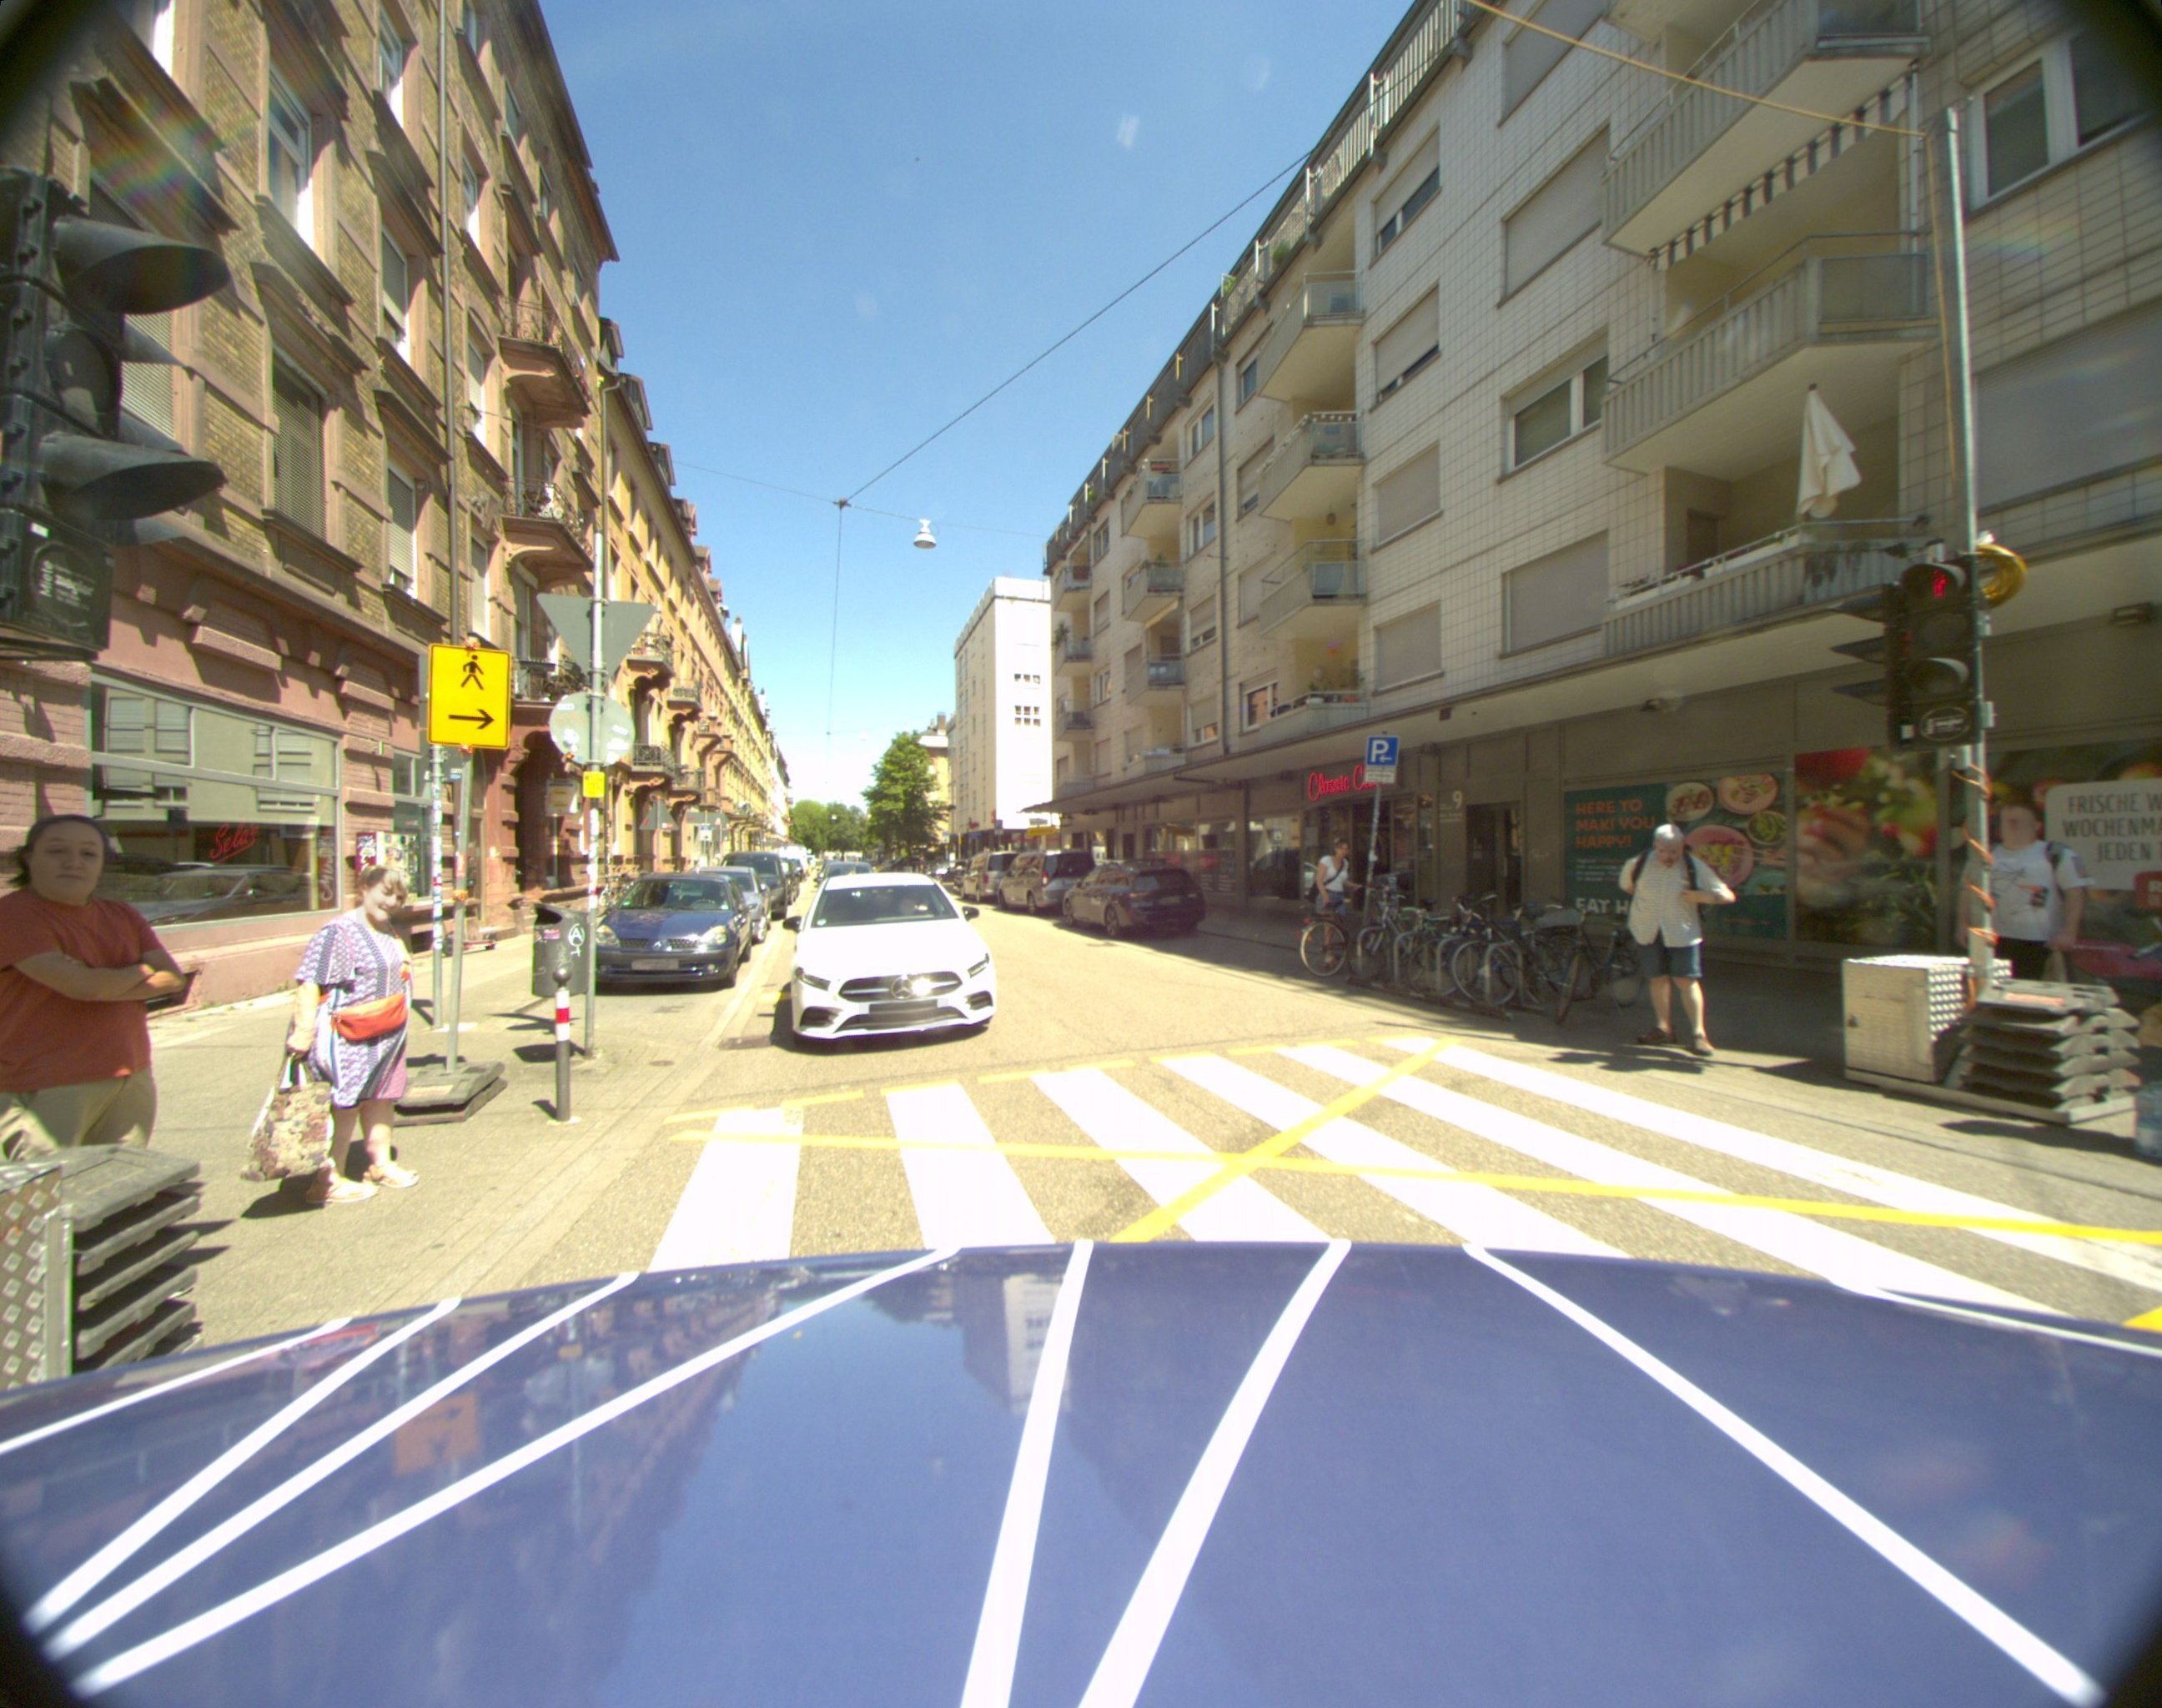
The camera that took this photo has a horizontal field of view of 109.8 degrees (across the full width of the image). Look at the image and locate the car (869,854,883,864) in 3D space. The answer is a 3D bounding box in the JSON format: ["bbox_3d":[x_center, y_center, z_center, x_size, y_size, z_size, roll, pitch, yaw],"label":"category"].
[{"bbox_3d":[-34.681,0.815,128.323,2.001,1.505,3.993,-2,1,-18],"label":"car"}]

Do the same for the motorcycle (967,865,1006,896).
[{"bbox_3d":[-3.968,1.115,31.984,1.553,1.277,0.394,-1,2,14],"label":"motorcycle"}]

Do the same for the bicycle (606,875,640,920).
[{"bbox_3d":[-11.967,1.114,19.897,0.355,1.097,1.753,-1,0,-18],"label":"bicycle"}]

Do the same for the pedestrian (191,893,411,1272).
[{"bbox_3d":[-3.427,0.955,3.373,0.495,1.534,0.436,2,0,-12],"label":"pedestrian"}]

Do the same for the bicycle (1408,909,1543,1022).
[{"bbox_3d":[4.294,1.177,8.248,1.500,1.024,0.397,-3,1,-22],"label":"bicycle"}]

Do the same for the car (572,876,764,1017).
[{"bbox_3d":[-5.288,1.055,10.192,1.634,1.424,3.654,1,0,-18],"label":"car"}]

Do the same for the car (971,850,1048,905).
[{"bbox_3d":[-2.758,0.789,28.239,1.796,1.818,4.893,-2,0,-18],"label":"car"}]

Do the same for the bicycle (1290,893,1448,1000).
[{"bbox_3d":[3.680,1.135,9.672,1.942,1.085,0.603,-5,0,-24],"label":"bicycle"}]

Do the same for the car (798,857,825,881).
[{"bbox_3d":[-18.696,1.008,52.632,1.684,1.528,3.993,-1,1,-21],"label":"car"}]

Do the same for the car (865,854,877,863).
[{"bbox_3d":[-41.418,0.914,149.915,2.001,1.674,3.993,-2,1,-18],"label":"car"}]

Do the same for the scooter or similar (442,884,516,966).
[{"bbox_3d":[-9.464,1.091,11.992,0.293,1.170,1.271,-1,0,-8],"label":"scooter or similar"}]

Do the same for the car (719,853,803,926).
[{"bbox_3d":[-8.565,0.856,20.644,1.832,1.756,4.330,1,0,-20],"label":"car"}]

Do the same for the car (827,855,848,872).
[{"bbox_3d":[-21.829,0.837,68.047,1.751,1.382,3.993,0,0,-19],"label":"car"}]

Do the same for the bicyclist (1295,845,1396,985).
[{"bbox_3d":[3.456,0.764,9.939,0.979,1.696,0.624,-4,1,-22],"label":"bicyclist"}]

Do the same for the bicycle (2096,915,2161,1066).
[{"bbox_3d":[8.289,1.003,5.302,0.322,1.080,1.429,-2,0,-37],"label":"bicycle"}]

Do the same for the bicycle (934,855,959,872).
[{"bbox_3d":[-9.111,0.656,51.356,1.611,1.084,0.370,-2,1,-12],"label":"bicycle"}]

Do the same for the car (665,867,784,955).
[{"bbox_3d":[-7.029,1.027,15.380,1.733,1.424,4.478,1,0,-20],"label":"car"}]

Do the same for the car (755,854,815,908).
[{"bbox_3d":[-10.501,0.901,27.162,1.708,1.723,3.993,-1,1,-18],"label":"car"}]

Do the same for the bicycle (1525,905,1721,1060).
[{"bbox_3d":[4.891,1.091,6.838,1.806,1.116,0.576,-3,2,-23],"label":"bicycle"}]

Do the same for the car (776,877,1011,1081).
[{"bbox_3d":[-2.100,1.026,8.098,1.817,1.417,4.235,0,0,-18],"label":"car"}]

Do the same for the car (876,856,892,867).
[{"bbox_3d":[-28.633,1.099,110.368,2.001,1.505,3.993,-2,1,-18],"label":"car"}]

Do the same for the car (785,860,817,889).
[{"bbox_3d":[-15.560,1.083,42.198,1.605,1.454,3.683,-1,1,-21],"label":"car"}]

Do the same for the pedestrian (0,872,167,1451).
[{"bbox_3d":[-3.264,0.897,2.366,0.333,1.666,0.401,0,1,-12],"label":"pedestrian"}]

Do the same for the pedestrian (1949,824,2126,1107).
[{"bbox_3d":[6.376,0.694,5.083,0.511,1.760,0.598,-1,1,-20],"label":"pedestrian"}]

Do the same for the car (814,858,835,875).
[{"bbox_3d":[-24.878,1.217,73.593,1.684,1.528,3.993,-1,1,-21],"label":"car"}]

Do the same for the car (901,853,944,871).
[{"bbox_3d":[-15.513,0.793,74.306,3.891,1.737,1.649,0,0,-18],"label":"car"}]

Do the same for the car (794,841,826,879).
[{"bbox_3d":[-20.673,0.406,58.125,2.070,2.687,5.031,-2,1,-18],"label":"car"}]

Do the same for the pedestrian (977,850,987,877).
[{"bbox_3d":[-7.924,0.776,61.031,0.608,2.113,0.496,0,1,18],"label":"pedestrian"}]

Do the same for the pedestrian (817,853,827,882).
[{"bbox_3d":[-17.133,0.894,50.290,0.636,1.903,0.369,-1,1,-18],"label":"pedestrian"}]

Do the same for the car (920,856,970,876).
[{"bbox_3d":[-11.170,0.957,62.322,3.891,1.520,1.649,0,0,-18],"label":"car"}]

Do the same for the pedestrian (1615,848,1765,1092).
[{"bbox_3d":[4.594,0.814,5.755,0.659,1.717,0.631,-1,1,-20],"label":"pedestrian"}]

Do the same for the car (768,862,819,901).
[{"bbox_3d":[-12.106,1.093,31.891,1.768,1.441,3.897,-1,1,-24],"label":"car"}]

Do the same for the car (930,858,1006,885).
[{"bbox_3d":[-6.375,0.981,42.953,3.897,1.417,1.811,0,0,-26],"label":"car"}]

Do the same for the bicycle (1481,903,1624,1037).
[{"bbox_3d":[4.631,1.099,7.441,1.525,1.111,0.335,-3,2,-22],"label":"bicycle"}]

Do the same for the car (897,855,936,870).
[{"bbox_3d":[-17.216,0.912,79.539,3.891,1.487,1.649,0,0,-18],"label":"car"}]

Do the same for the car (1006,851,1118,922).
[{"bbox_3d":[-0.703,0.857,22.241,1.796,1.801,4.691,-2,0,-21],"label":"car"}]

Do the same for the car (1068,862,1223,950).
[{"bbox_3d":[1.180,0.962,16.072,1.676,1.516,4.457,-2,0,-17],"label":"car"}]

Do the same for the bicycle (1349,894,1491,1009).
[{"bbox_3d":[3.970,1.103,8.880,1.590,1.133,0.526,-3,1,-22],"label":"bicycle"}]

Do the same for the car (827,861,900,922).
[{"bbox_3d":[-6.288,0.982,21.792,1.783,1.460,3.993,-2,1,-18],"label":"car"}]

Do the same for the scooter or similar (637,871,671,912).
[{"bbox_3d":[-12.903,1.098,23.001,0.478,1.146,2.146,-1,0,-18],"label":"scooter or similar"}]

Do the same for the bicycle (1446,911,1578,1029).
[{"bbox_3d":[4.459,1.164,7.839,1.454,1.030,0.335,-3,2,-22],"label":"bicycle"}]
